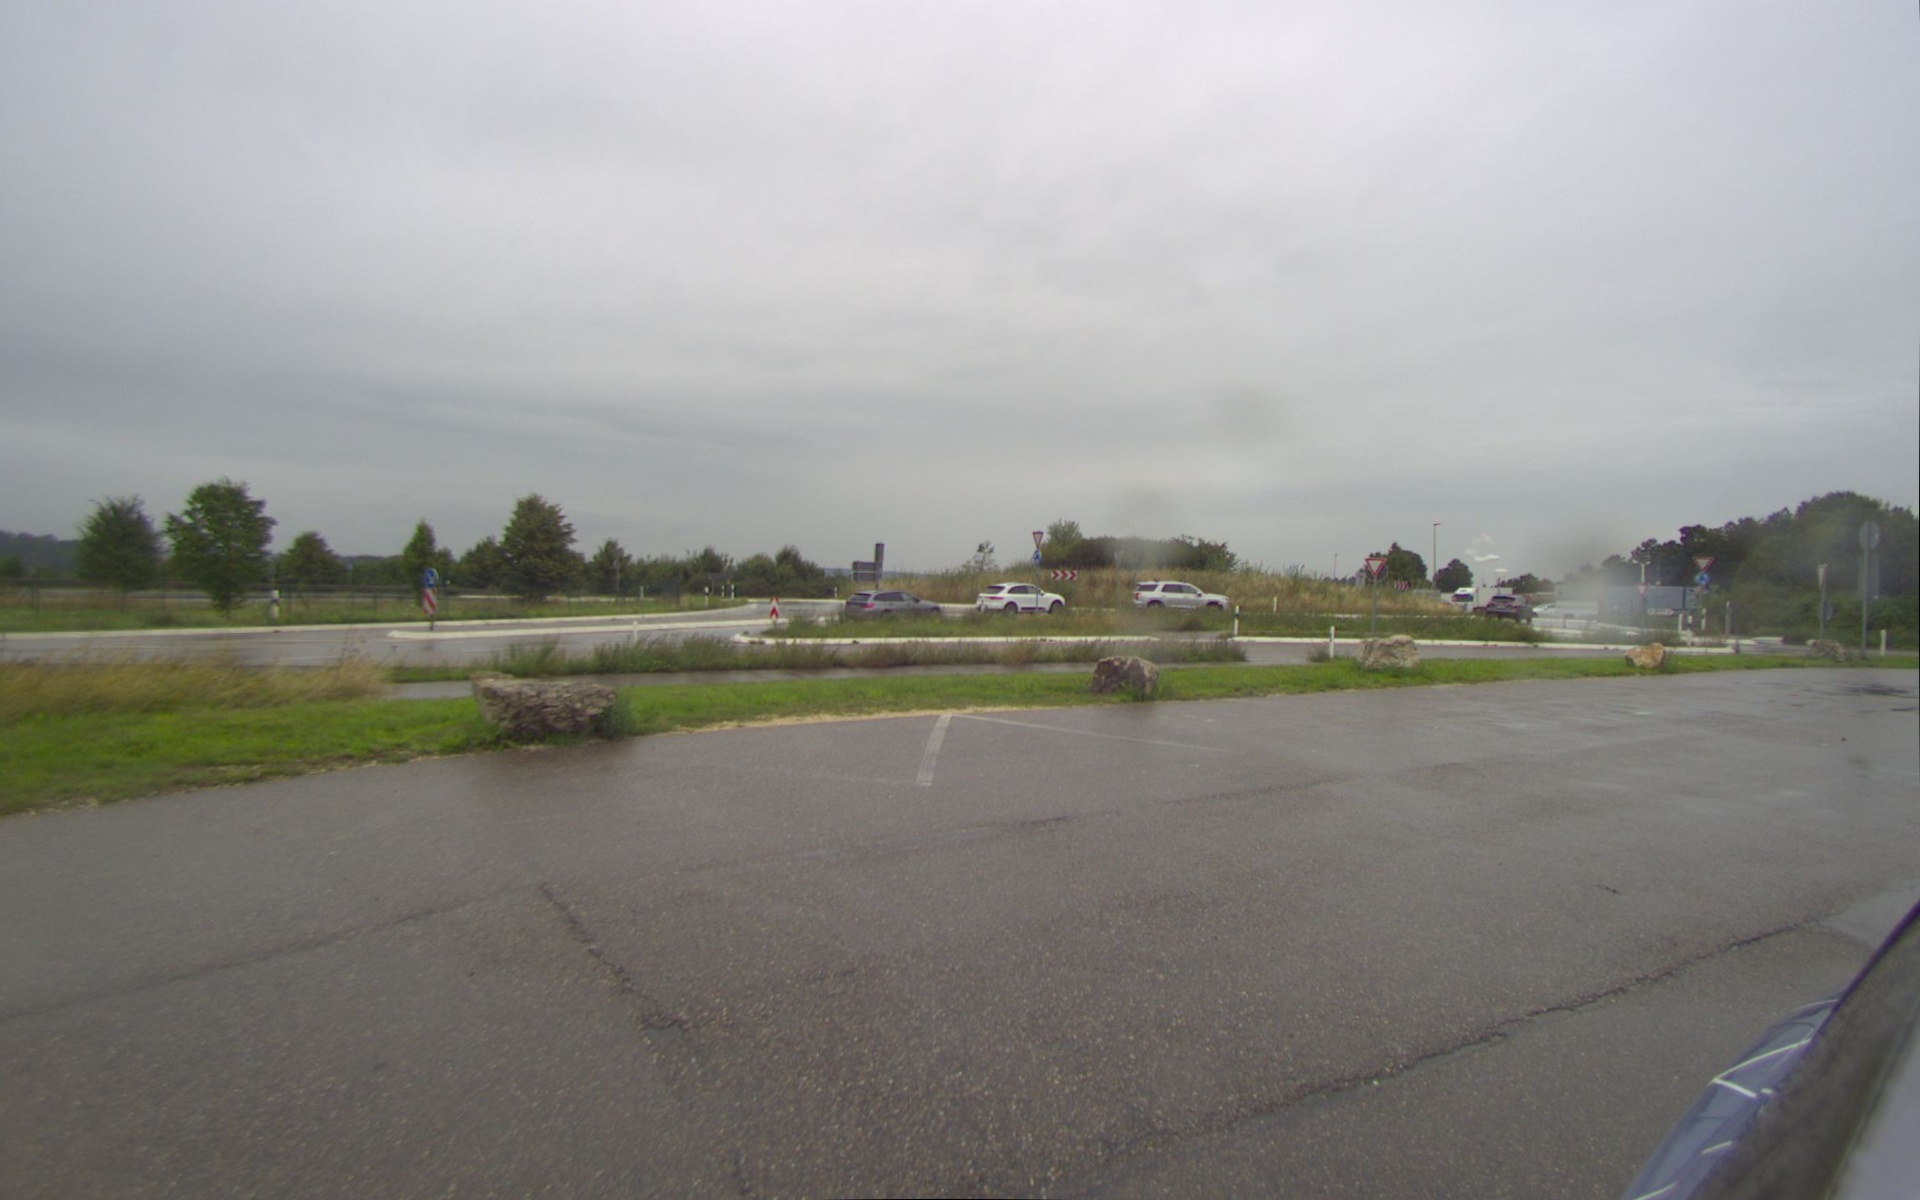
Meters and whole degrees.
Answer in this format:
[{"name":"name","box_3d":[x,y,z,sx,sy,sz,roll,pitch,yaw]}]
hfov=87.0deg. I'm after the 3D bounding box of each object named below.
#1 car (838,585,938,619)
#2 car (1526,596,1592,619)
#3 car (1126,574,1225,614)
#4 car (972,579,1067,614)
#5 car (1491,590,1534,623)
[{"name":"car","box_3d":[-2.917,0.076,41.702,3.977,1.342,1.689,0,1,-44]},{"name":"car","box_3d":[48.116,0.588,81.369,4.282,1.781,1.749,1,0,-2]},{"name":"car","box_3d":[10.668,-0.326,50.387,4.563,1.896,1.997,1,0,5]},{"name":"car","box_3d":[2.812,-0.170,47.351,4.301,1.604,1.694,0,1,-34]},{"name":"car","box_3d":[31.635,0.351,57.926,1.705,1.839,3.667,0,0,36]}]
